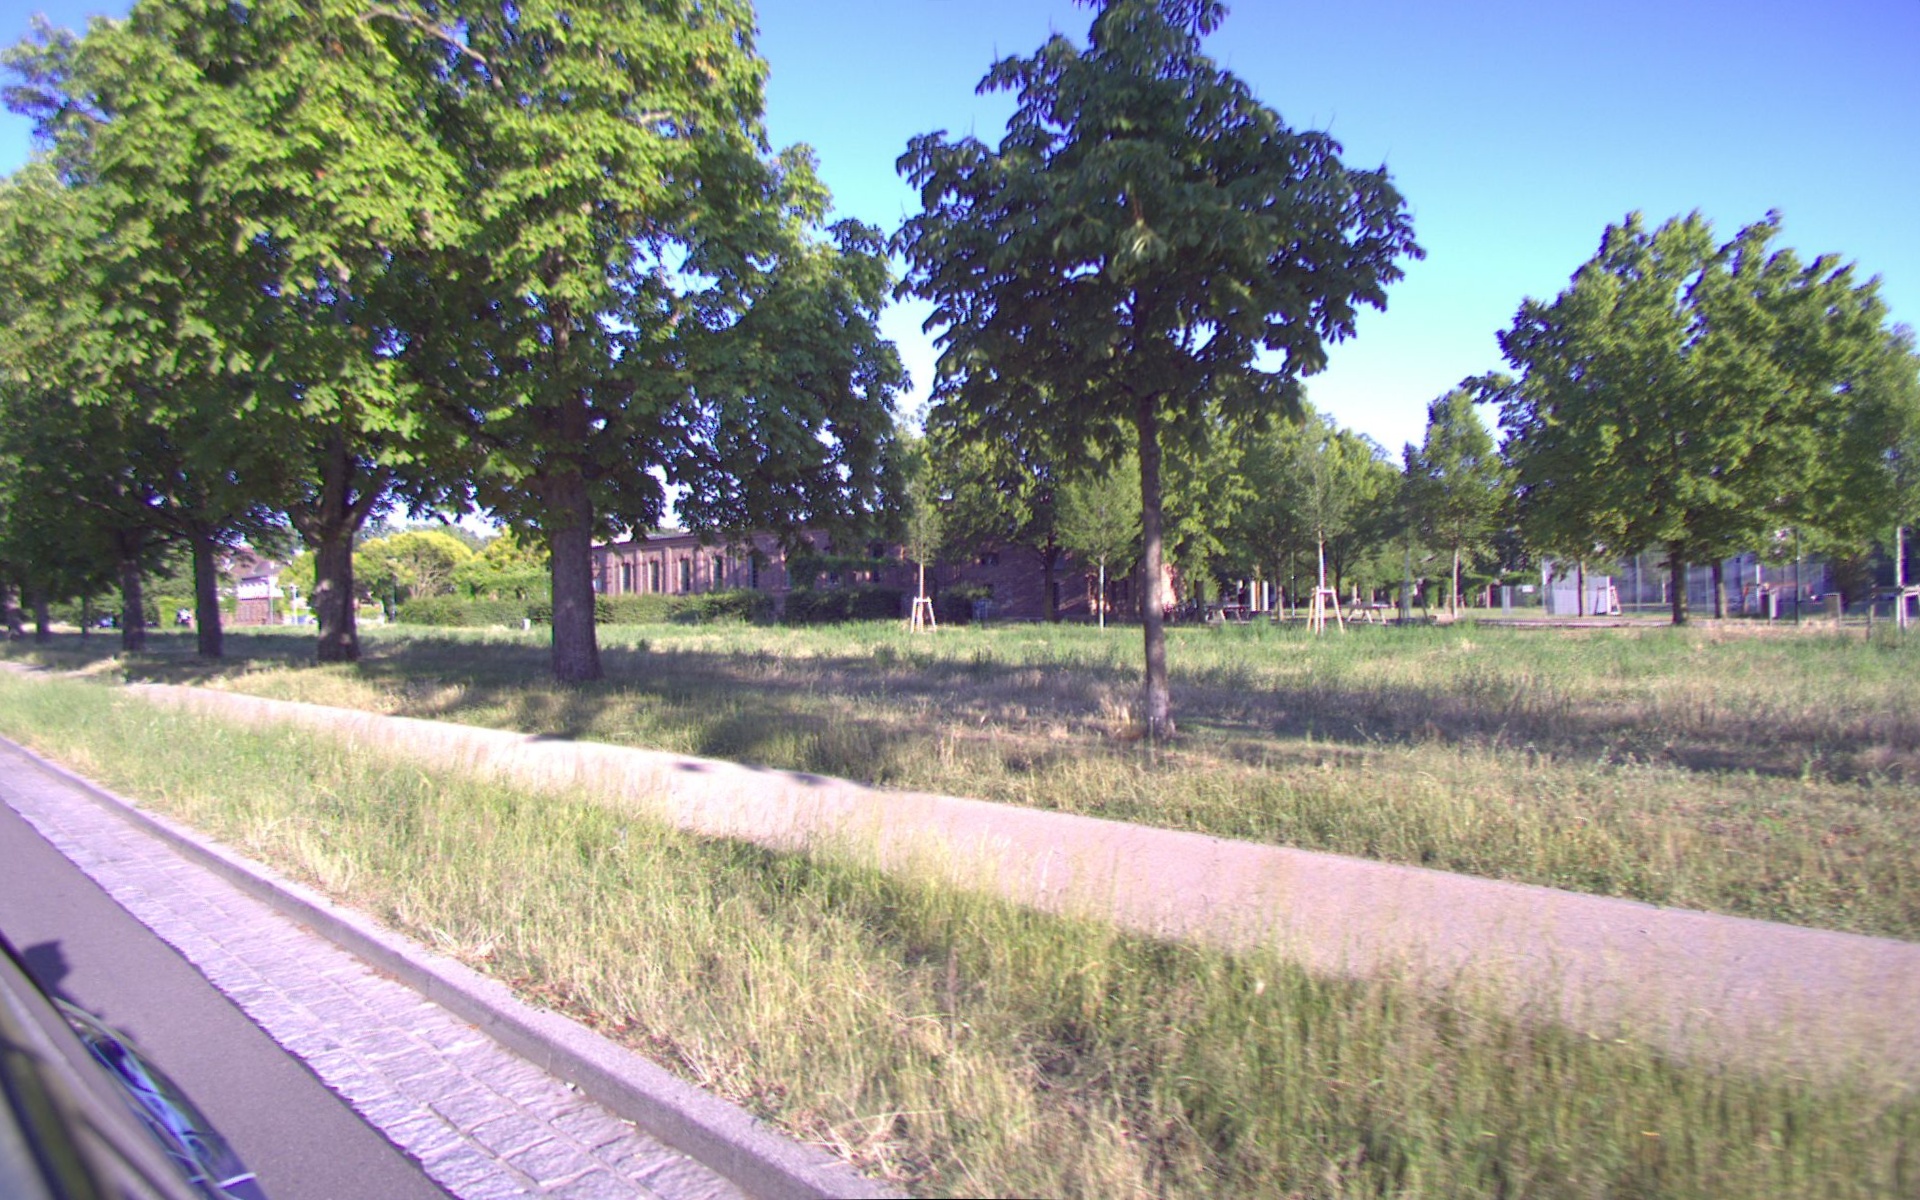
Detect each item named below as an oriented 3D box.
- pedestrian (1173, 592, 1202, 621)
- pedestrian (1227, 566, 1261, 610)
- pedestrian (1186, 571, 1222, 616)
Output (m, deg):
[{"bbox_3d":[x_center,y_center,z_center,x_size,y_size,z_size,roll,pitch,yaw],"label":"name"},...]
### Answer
[{"bbox_3d":[10.591,0.312,47.175,0.980,1.304,1.104,-2,0,32],"label":"pedestrian"},{"bbox_3d":[12.705,-0.537,45.246,1.099,1.877,0.984,-2,0,-43],"label":"pedestrian"},{"bbox_3d":[10.267,-0.275,42.578,1.099,1.877,0.984,-2,0,-43],"label":"pedestrian"}]
